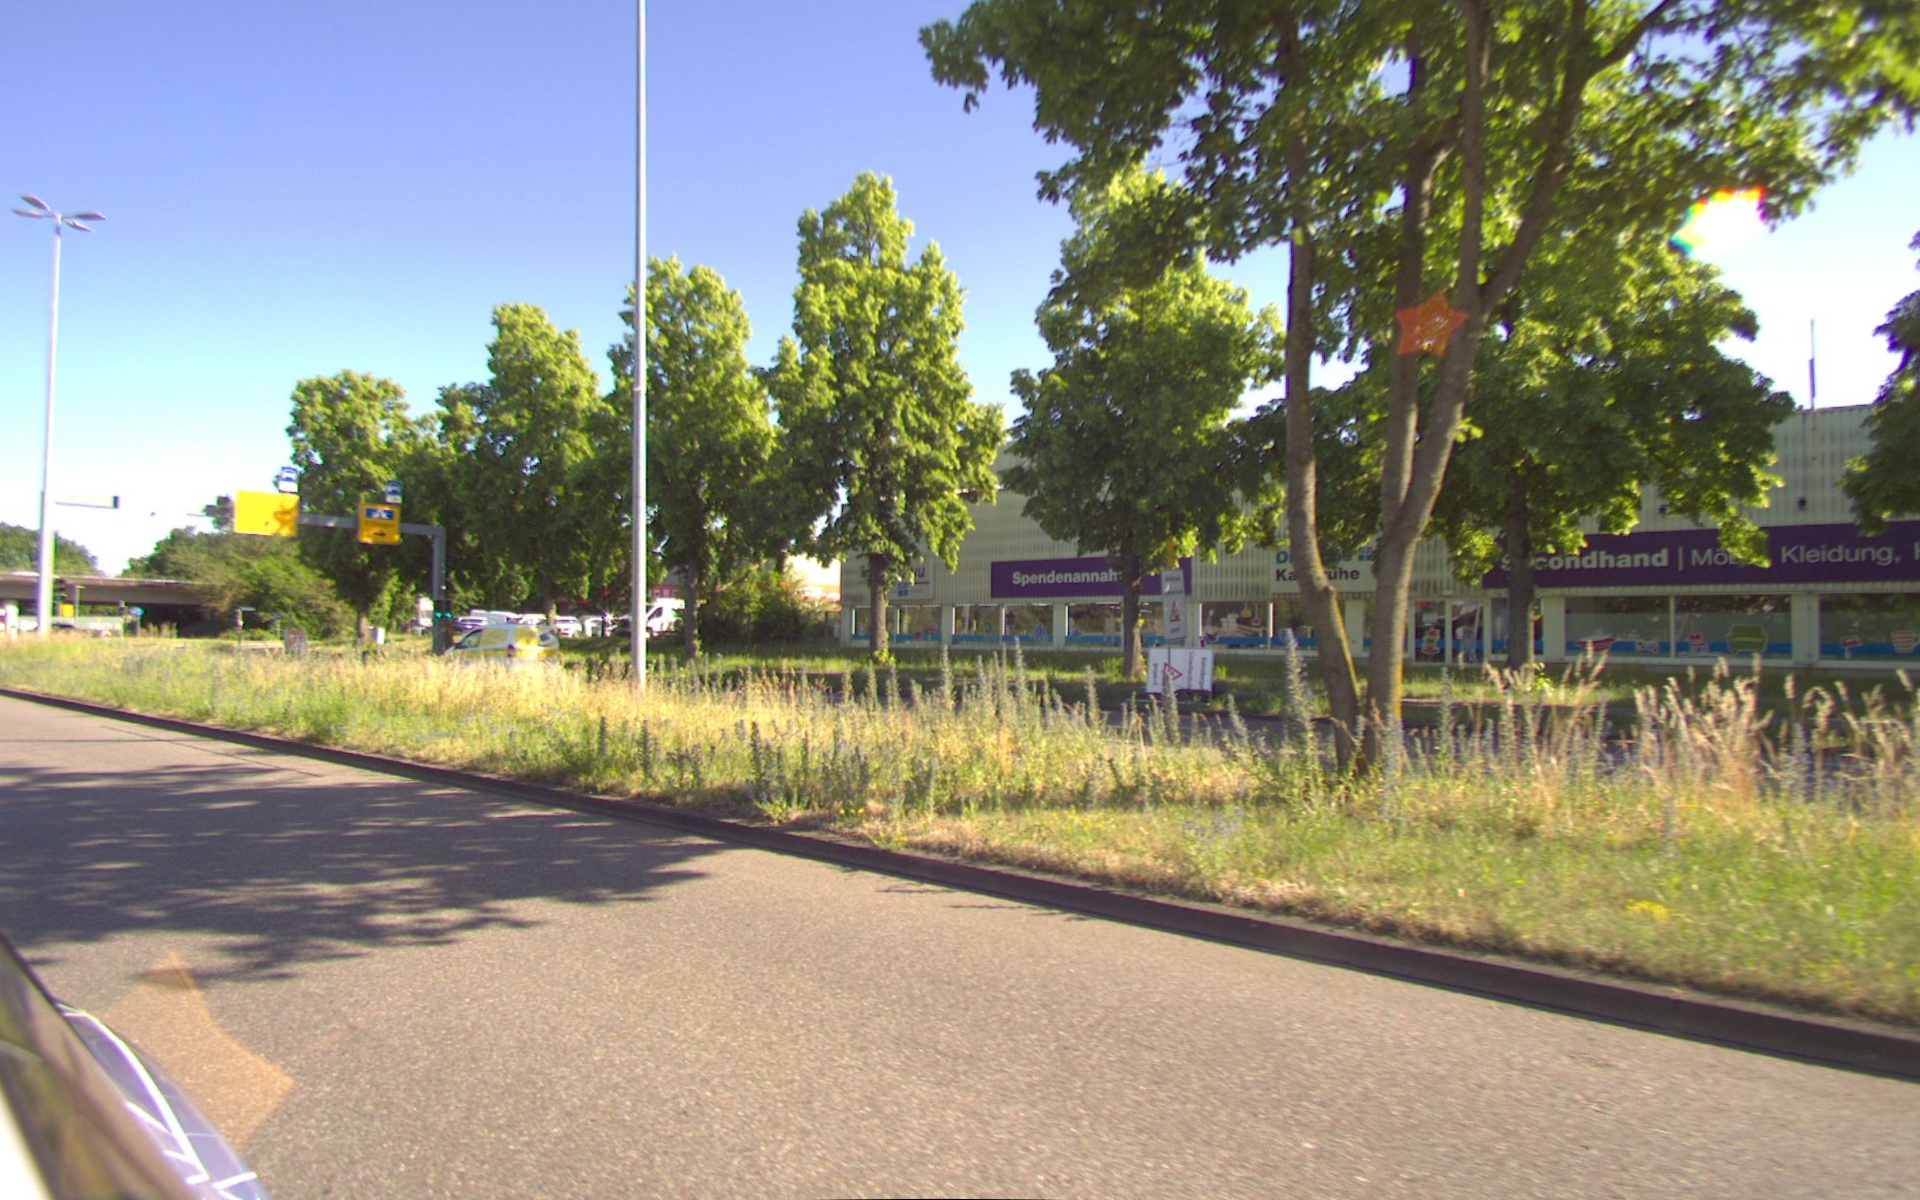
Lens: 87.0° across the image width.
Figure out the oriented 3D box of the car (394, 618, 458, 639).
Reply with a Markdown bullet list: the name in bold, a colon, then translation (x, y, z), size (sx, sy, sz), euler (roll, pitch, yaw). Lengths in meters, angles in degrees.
- **car**: translation (-41.318, 2.253, 78.380), size (4.066, 1.563, 1.898), euler (3, -3, -40)

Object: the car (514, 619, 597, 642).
- **car**: translation (-26.064, 1.991, 65.331), size (1.944, 1.399, 4.576), euler (-1, -3, 37)

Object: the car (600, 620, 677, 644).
- **car**: translation (-19.350, 1.965, 61.055), size (1.941, 1.399, 4.084), euler (-1, -3, 34)

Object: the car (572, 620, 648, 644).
- **car**: translation (-21.554, 1.978, 62.462), size (1.941, 1.399, 4.084), euler (-1, -3, 34)

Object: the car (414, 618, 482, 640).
- **car**: translation (-37.905, 2.181, 74.970), size (1.818, 1.563, 4.074), euler (-2, -3, 42)

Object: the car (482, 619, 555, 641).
- **car**: translation (-29.671, 2.026, 68.153), size (1.943, 1.399, 4.081), euler (-1, -3, 36)

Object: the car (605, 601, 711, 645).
- **car**: translation (-17.550, 1.398, 59.151), size (2.201, 2.452, 5.829), euler (-1, -3, 34)

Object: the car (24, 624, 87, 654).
- **car**: translation (-54.359, 2.375, 60.788), size (4.622, 1.710, 1.924), euler (-2, -5, 37)

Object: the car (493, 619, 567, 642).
- **car**: translation (-28.138, 2.005, 66.375), size (1.941, 1.399, 4.084), euler (-1, -3, 34)

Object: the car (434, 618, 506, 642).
- **car**: translation (-34.325, 2.132, 70.929), size (1.945, 1.563, 4.076), euler (-2, -3, 40)

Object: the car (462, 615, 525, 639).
- **car**: translation (-43.623, 2.510, 94.696), size (4.984, 2.168, 1.892), euler (0, -3, 6)

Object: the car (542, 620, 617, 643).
- **car**: translation (-23.871, 1.987, 63.620), size (1.941, 1.399, 4.084), euler (-1, -3, 34)

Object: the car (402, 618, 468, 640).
- **car**: translation (-39.669, 2.228, 76.569), size (4.068, 1.563, 1.898), euler (3, -3, -42)

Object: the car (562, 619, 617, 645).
- **car**: translation (-29.046, 2.486, 79.246), size (5.127, 1.971, 1.761), euler (-2, -3, 41)

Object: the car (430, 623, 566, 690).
- **car**: translation (-13.044, 1.550, 28.499), size (4.158, 1.760, 1.691), euler (-1, -2, 36)
